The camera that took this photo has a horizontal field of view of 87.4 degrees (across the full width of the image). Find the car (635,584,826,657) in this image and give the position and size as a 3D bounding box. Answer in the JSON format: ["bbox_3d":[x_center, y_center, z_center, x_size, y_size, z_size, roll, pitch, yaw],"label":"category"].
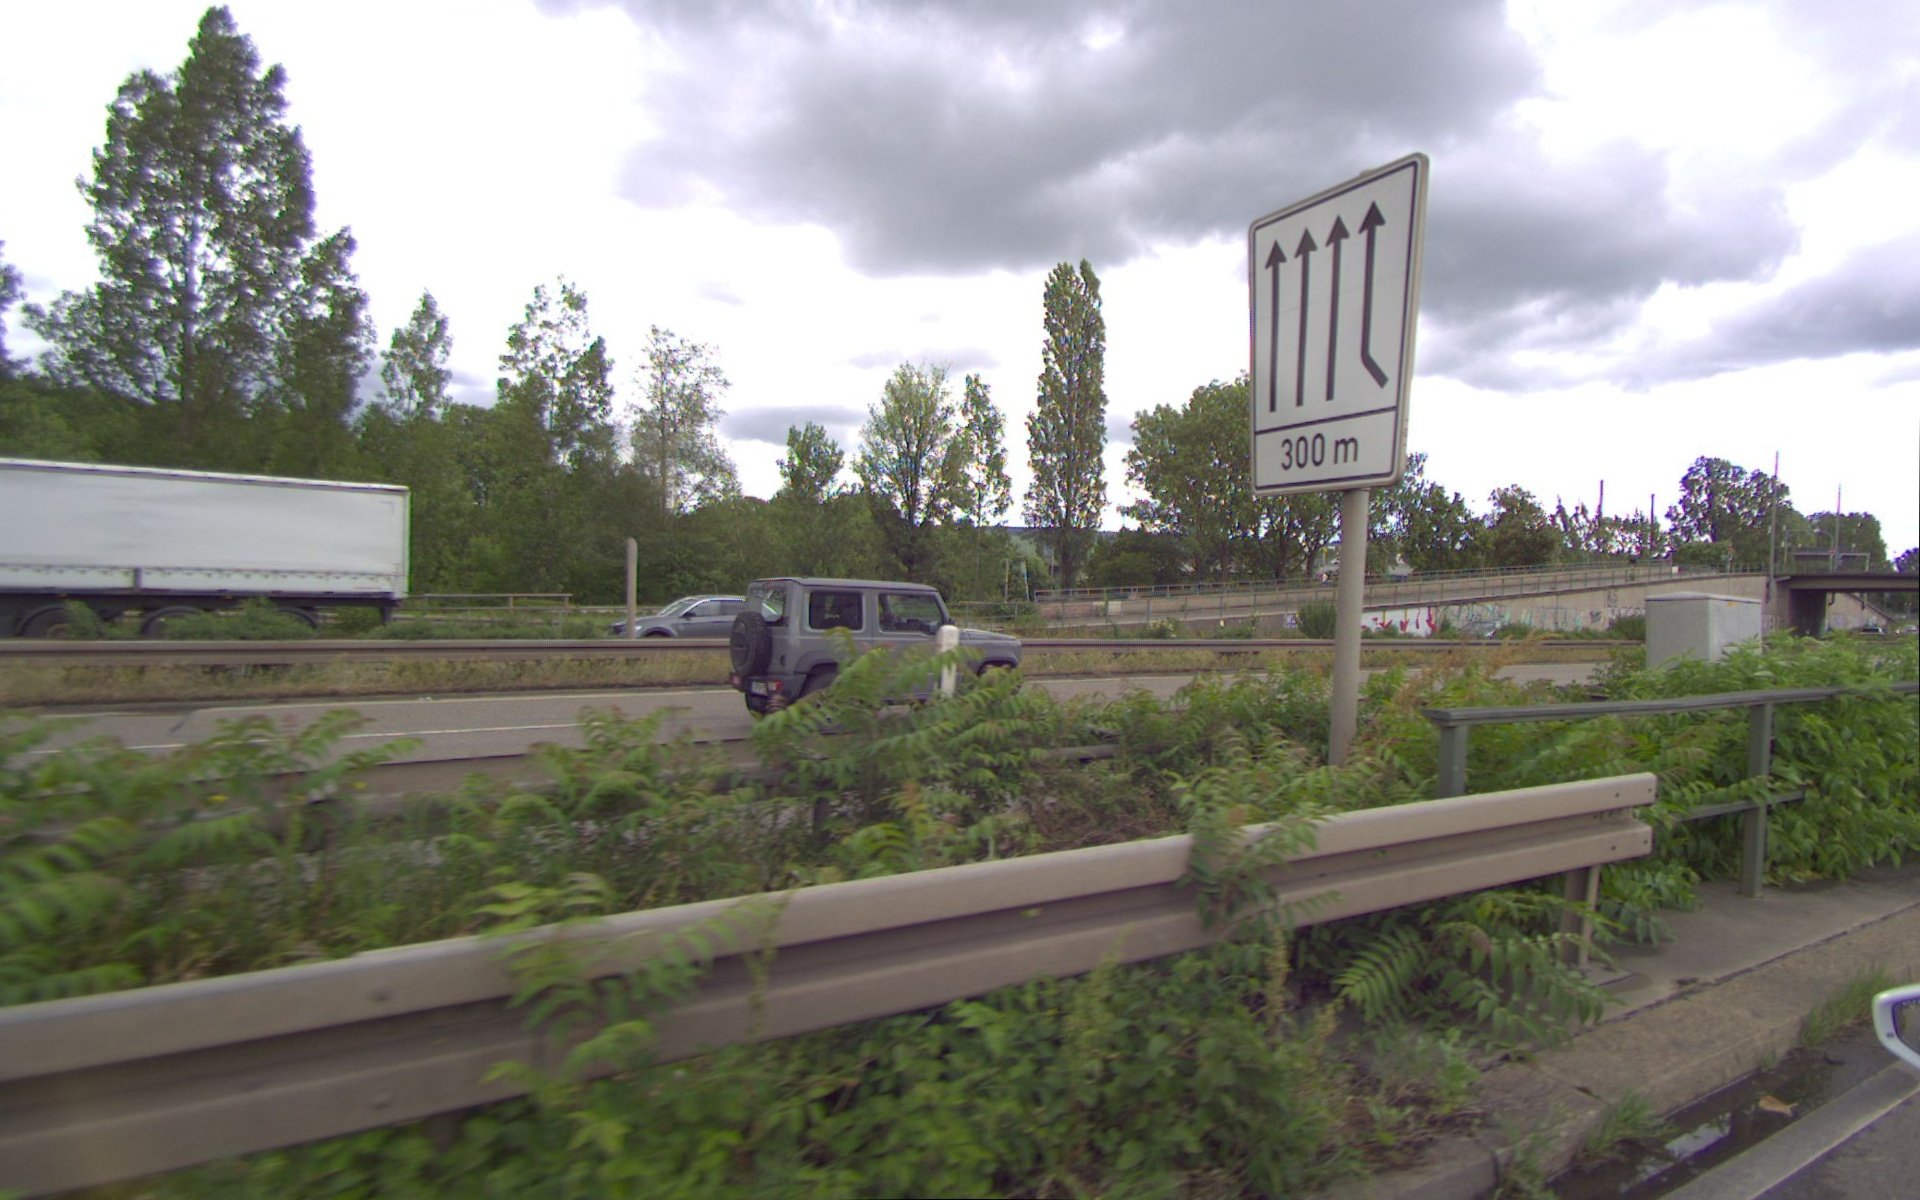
[{"bbox_3d":[-5.451,0.475,24.011,3.962,1.542,1.979,2,2,-36],"label":"car"}]

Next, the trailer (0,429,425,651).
[{"bbox_3d":[-18.016,-1.120,19.285,13.383,4.002,2.770,1,1,-36],"label":"trailer"}]

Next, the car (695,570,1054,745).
[{"bbox_3d":[-0.923,0.616,11.914,3.961,1.759,1.669,1,-1,-37],"label":"car"}]

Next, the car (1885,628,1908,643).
[{"bbox_3d":[118.426,4.540,127.044,1.970,1.742,4.681,1,-2,41],"label":"car"}]
